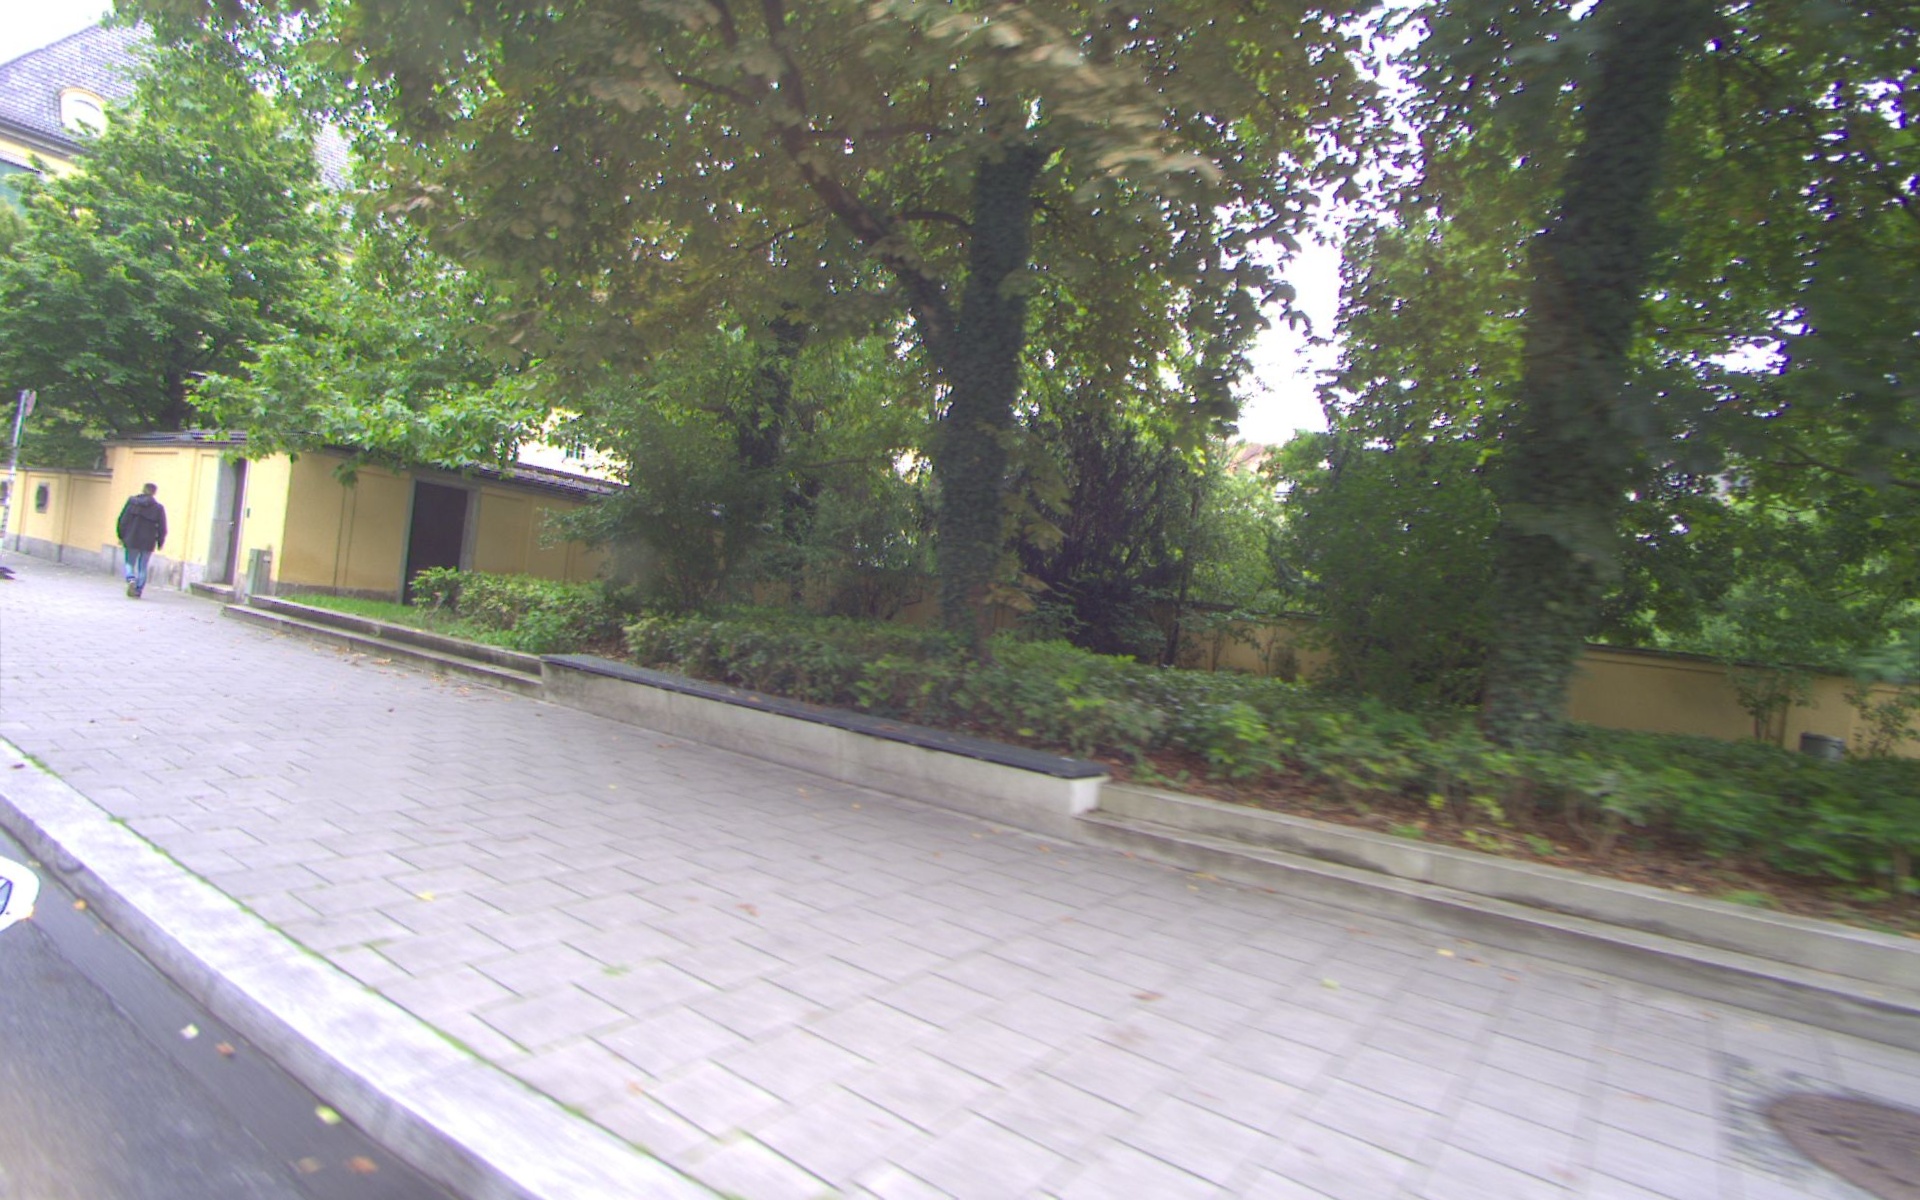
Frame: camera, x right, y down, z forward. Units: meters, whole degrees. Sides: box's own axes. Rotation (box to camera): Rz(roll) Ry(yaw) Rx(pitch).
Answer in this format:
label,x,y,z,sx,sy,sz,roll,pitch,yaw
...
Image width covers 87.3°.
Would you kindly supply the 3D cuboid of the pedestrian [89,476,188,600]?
label,x,y,z,sx,sy,sz,roll,pitch,yaw
pedestrian,-13.260,-0.996,16.239,1.036,1.854,0.873,7,1,36
